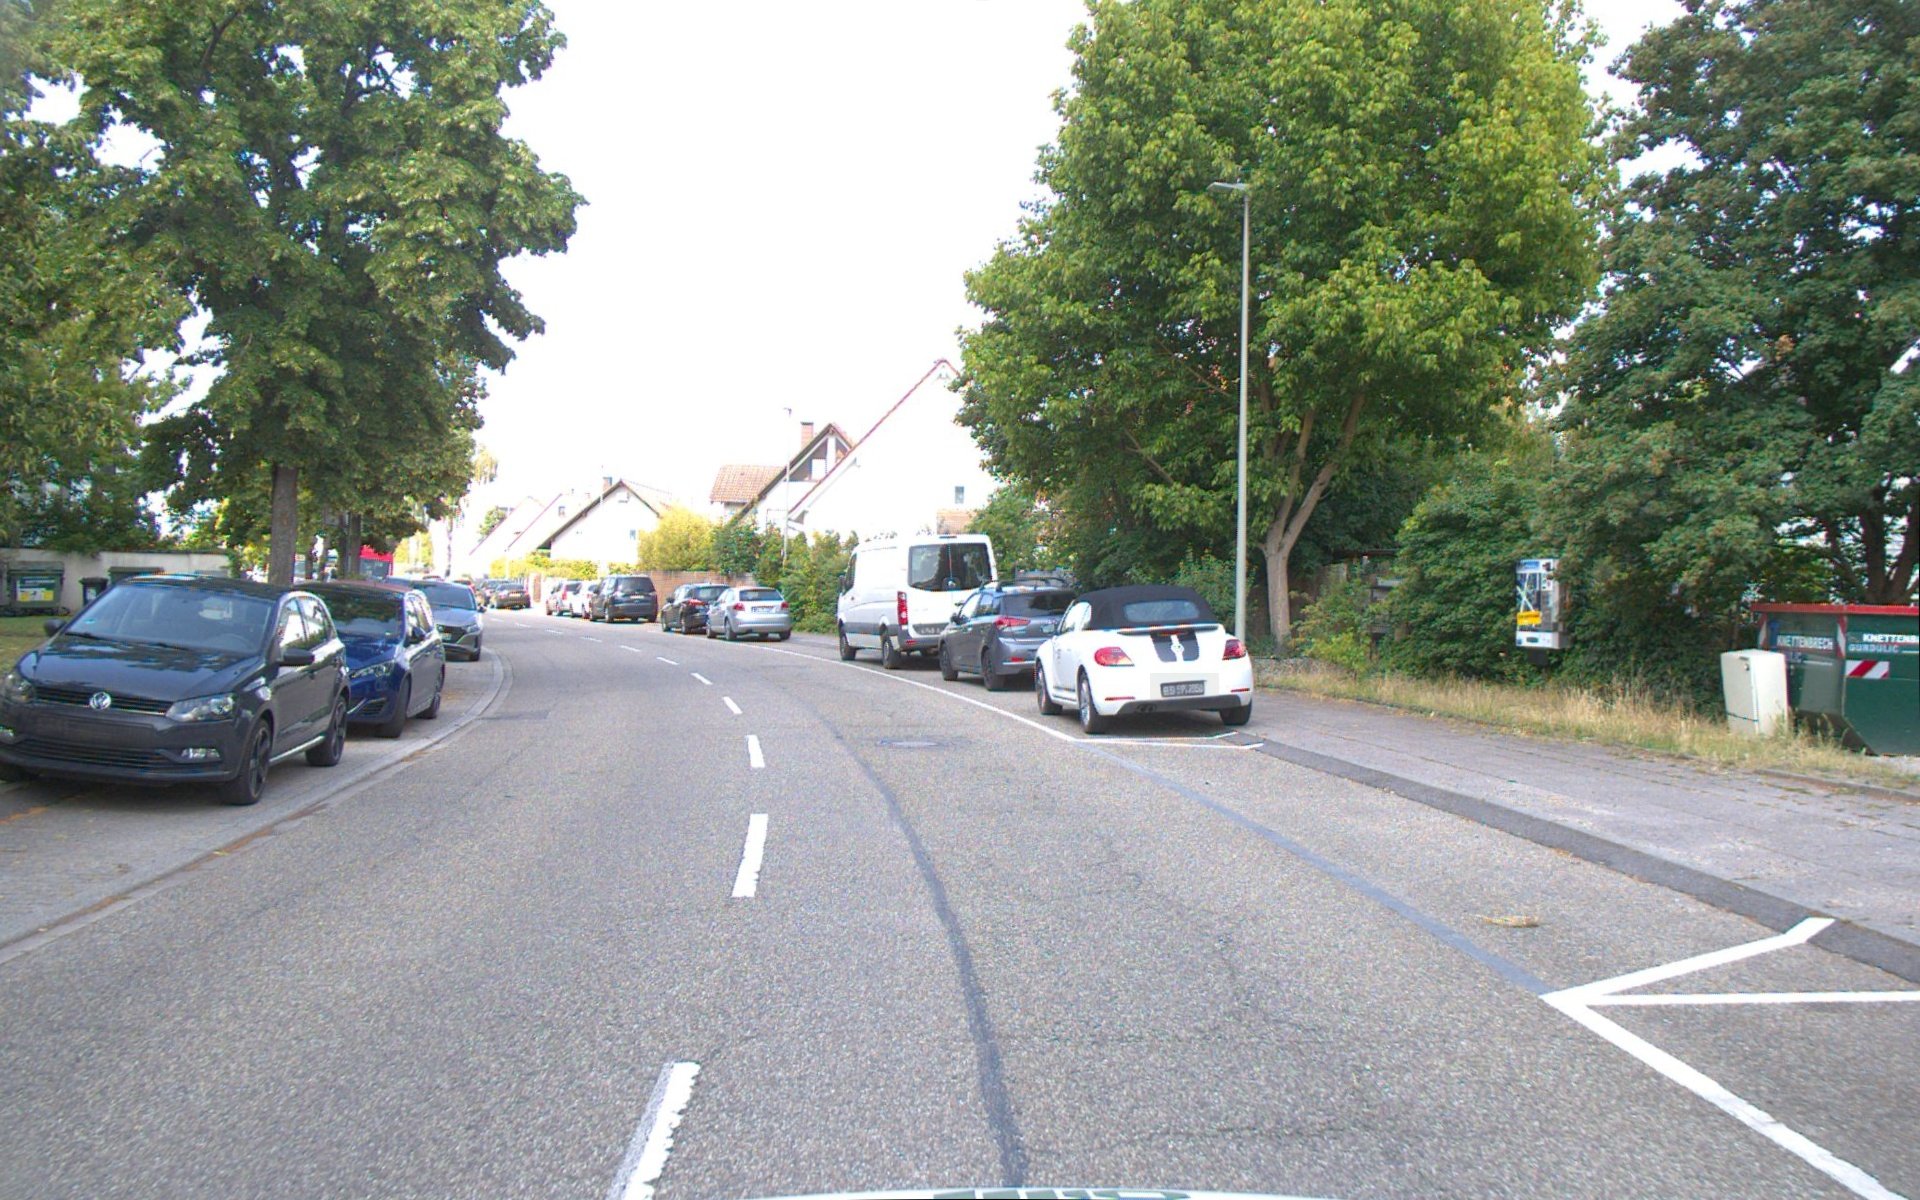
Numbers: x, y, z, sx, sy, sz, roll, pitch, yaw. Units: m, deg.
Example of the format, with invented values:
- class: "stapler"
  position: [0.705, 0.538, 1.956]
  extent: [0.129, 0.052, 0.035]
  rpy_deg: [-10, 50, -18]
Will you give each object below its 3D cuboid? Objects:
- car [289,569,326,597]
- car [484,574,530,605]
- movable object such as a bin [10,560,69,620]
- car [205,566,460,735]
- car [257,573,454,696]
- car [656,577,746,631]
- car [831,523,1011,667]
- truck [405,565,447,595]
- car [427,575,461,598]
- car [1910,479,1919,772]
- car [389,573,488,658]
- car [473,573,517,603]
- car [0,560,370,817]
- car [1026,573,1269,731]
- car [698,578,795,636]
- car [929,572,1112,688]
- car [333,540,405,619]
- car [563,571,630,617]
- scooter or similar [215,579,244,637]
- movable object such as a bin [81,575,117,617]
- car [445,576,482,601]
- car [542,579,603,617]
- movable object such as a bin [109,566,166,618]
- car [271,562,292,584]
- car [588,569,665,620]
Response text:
- class: "car"
  position: [-42.154, -1.084, 106.808]
  extent: [1.765, 1.629, 4.399]
  rpy_deg: [6, -2, -25]
- class: "car"
  position: [-23.918, -0.583, 87.292]
  extent: [1.771, 1.550, 3.944]
  rpy_deg: [2, 0, -24]
- class: "movable object such as a bin"
  position: [-23.828, -0.272, 42.848]
  extent: [1.180, 1.462, 1.362]
  rpy_deg: [0, 4, -23]
- class: "car"
  position: [-6.619, 0.500, 17.934]
  extent: [1.729, 1.515, 4.558]
  rpy_deg: [3, -1, -11]
- class: "car"
  position: [-8.356, 0.437, 23.225]
  extent: [1.803, 1.463, 4.082]
  rpy_deg: [4, 0, -10]
- class: "car"
  position: [-7.996, 0.090, 50.785]
  extent: [1.713, 1.535, 4.445]
  rpy_deg: [2, 0, -23]
- class: "car"
  position: [-0.887, -0.107, 31.857]
  extent: [2.082, 2.483, 5.870]
  rpy_deg: [1, 0, -15]
- class: "truck"
  position: [-42.728, -1.621, 132.197]
  extent: [2.535, 2.300, 6.486]
  rpy_deg: [2, 0, -24]
- class: "car"
  position: [-36.804, -1.001, 117.928]
  extent: [1.771, 1.550, 4.498]
  rpy_deg: [2, 0, -24]
- class: "car"
  position: [9.114, 0.256, 10.234]
  extent: [5.228, 2.093, 2.001]
  rpy_deg: [2, 0, 17]
- class: "car"
  position: [-10.651, 0.275, 33.727]
  extent: [1.733, 1.515, 4.321]
  rpy_deg: [3, 0, -19]
- class: "car"
  position: [-25.726, -0.672, 91.496]
  extent: [1.771, 1.550, 3.944]
  rpy_deg: [2, 0, -24]
- class: "car"
  position: [-5.681, 0.530, 12.180]
  extent: [1.728, 1.515, 4.024]
  rpy_deg: [3, 0, -9]
- class: "car"
  position: [1.961, 0.503, 18.689]
  extent: [1.707, 1.539, 4.451]
  rpy_deg: [1, 0, -7]
- class: "car"
  position: [-5.951, 0.154, 45.688]
  extent: [1.712, 1.483, 4.339]
  rpy_deg: [1, 0, -20]
- class: "car"
  position: [0.835, 0.414, 25.555]
  extent: [1.689, 1.613, 4.108]
  rpy_deg: [1, 0, -15]
- class: "car"
  position: [-21.549, -0.759, 60.156]
  extent: [2.035, 2.543, 5.802]
  rpy_deg: [6, -1, -22]
- class: "car"
  position: [-14.823, -0.276, 67.389]
  extent: [1.773, 1.779, 3.940]
  rpy_deg: [2, 0, -26]
- class: "scooter or similar"
  position: [-15.476, 0.162, 35.056]
  extent: [0.413, 1.186, 1.134]
  rpy_deg: [3, 0, -19]
- class: "movable object such as a bin"
  position: [-22.687, -0.110, 43.586]
  extent: [0.614, 1.042, 0.876]
  rpy_deg: [1, 4, -11]
- class: "car"
  position: [-32.752, -0.773, 109.095]
  extent: [1.771, 1.550, 4.498]
  rpy_deg: [2, 0, -24]
- class: "car"
  position: [-16.787, -0.114, 71.570]
  extent: [1.772, 1.550, 3.942]
  rpy_deg: [2, 0, -25]
- class: "movable object such as a bin"
  position: [-21.767, -0.225, 43.787]
  extent: [1.171, 1.296, 0.876]
  rpy_deg: [1, 4, -12]
- class: "car"
  position: [-70.680, -2.824, 172.187]
  extent: [1.765, 2.291, 4.734]
  rpy_deg: [1, 0, -25]
- class: "car"
  position: [-12.482, -0.229, 61.695]
  extent: [1.772, 1.779, 4.548]
  rpy_deg: [2, 0, -25]
